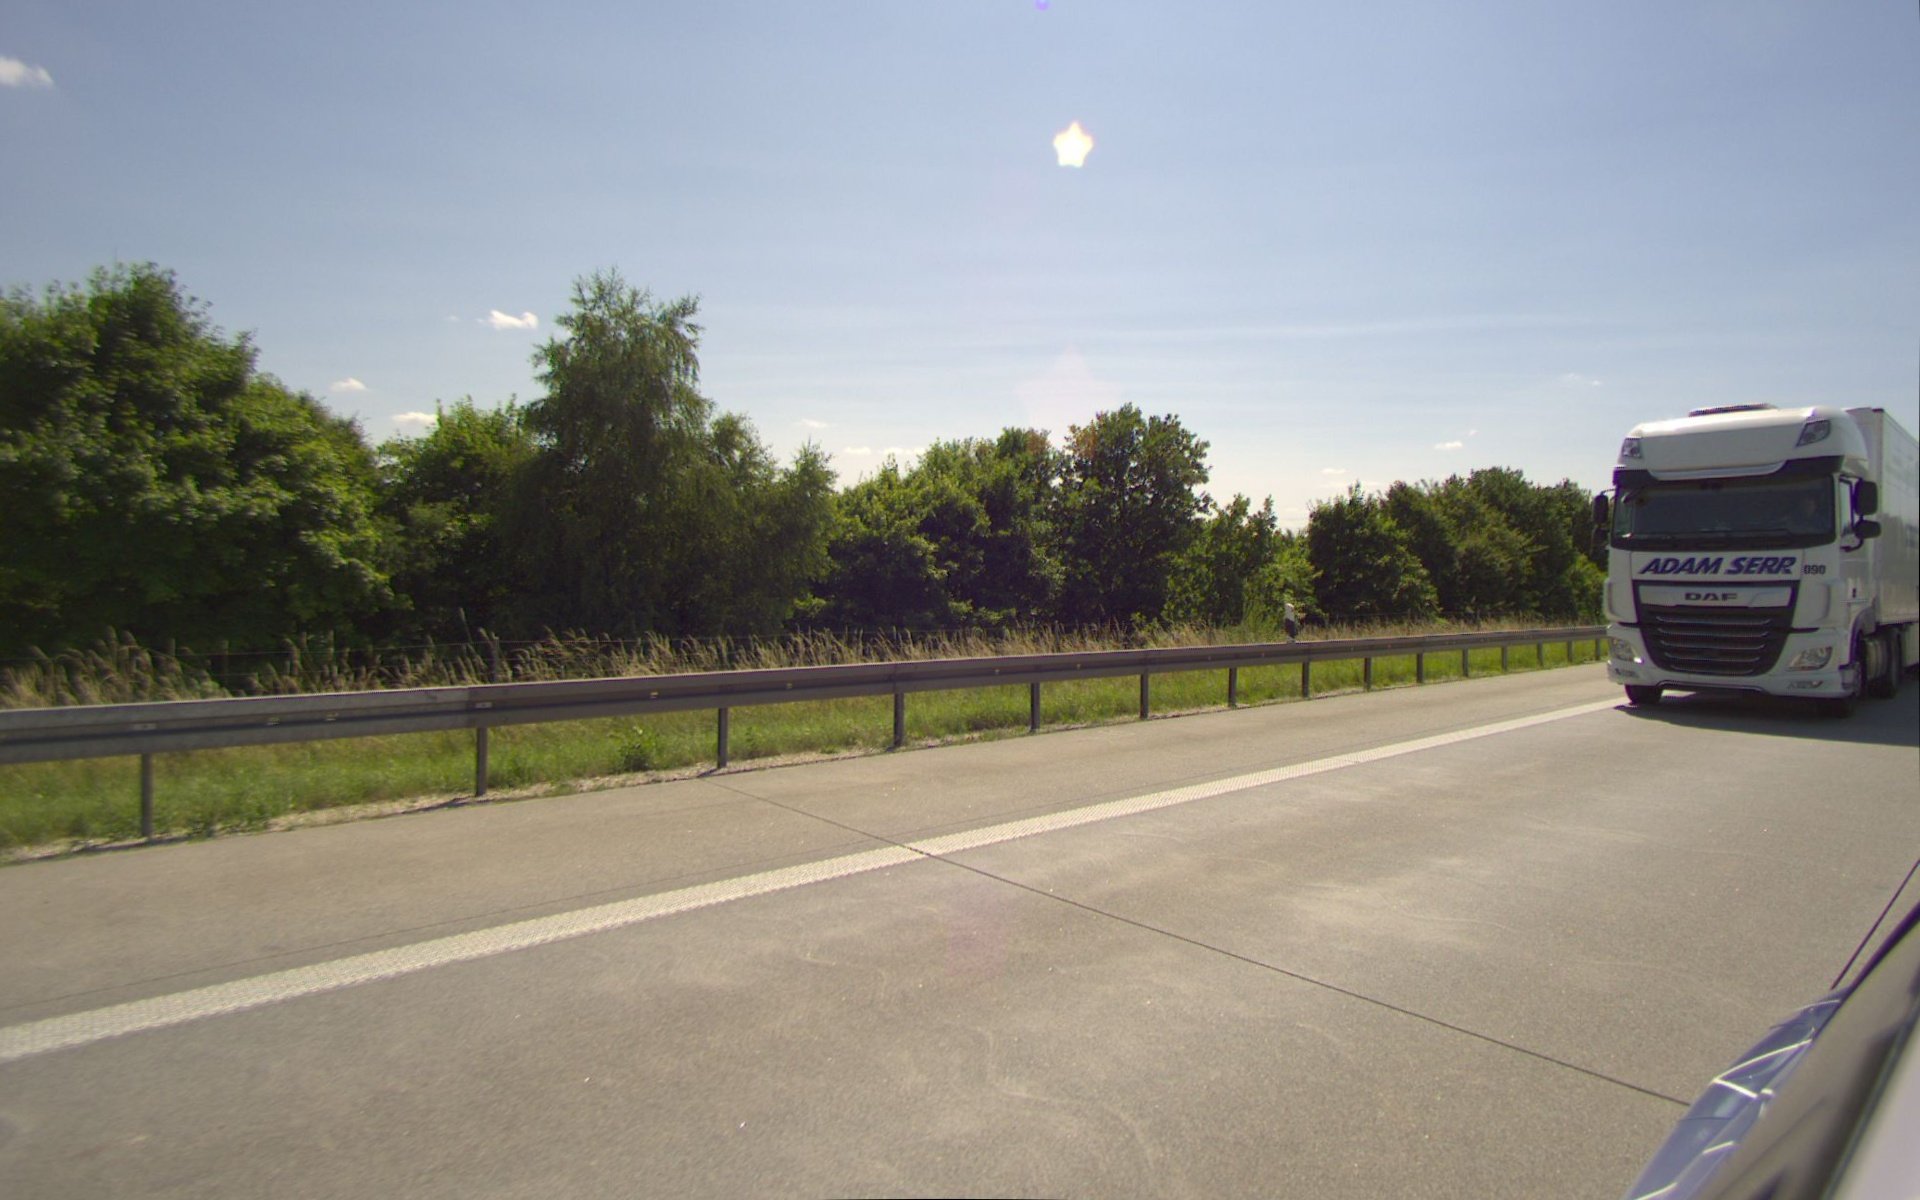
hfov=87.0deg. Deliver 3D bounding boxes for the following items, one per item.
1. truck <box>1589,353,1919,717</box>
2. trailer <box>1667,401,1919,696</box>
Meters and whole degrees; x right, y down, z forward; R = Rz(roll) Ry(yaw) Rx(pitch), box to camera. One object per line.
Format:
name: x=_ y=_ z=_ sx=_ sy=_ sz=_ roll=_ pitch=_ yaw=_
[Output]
truck: x=11.543 y=-0.775 z=14.459 sx=5.698 sy=4.139 sz=2.817 roll=0 pitch=1 yaw=-41
trailer: x=16.950 y=-0.769 z=19.282 sx=12.493 sy=4.093 sz=2.857 roll=0 pitch=1 yaw=-42
